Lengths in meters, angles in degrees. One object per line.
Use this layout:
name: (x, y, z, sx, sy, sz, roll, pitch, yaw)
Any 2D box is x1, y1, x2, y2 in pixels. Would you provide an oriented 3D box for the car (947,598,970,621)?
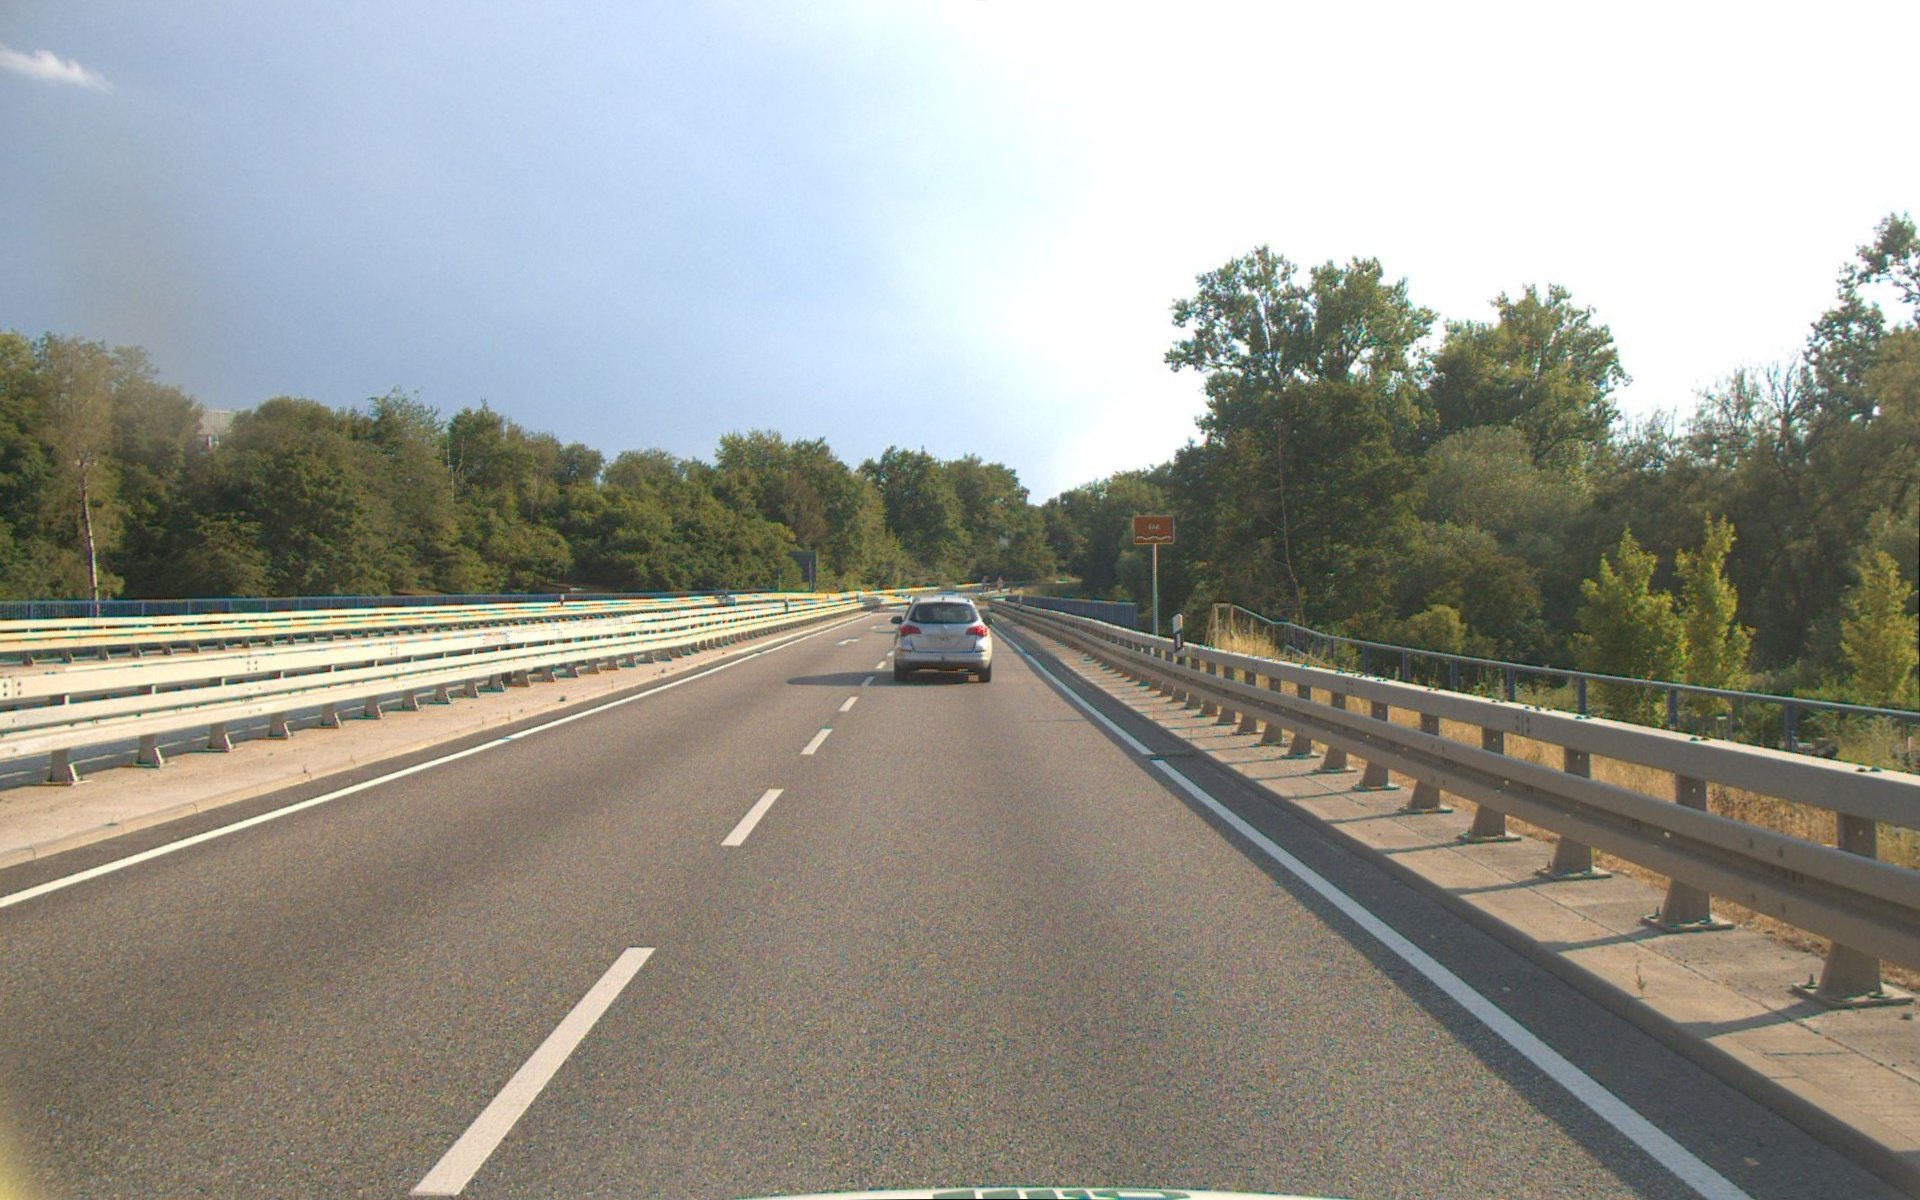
car: (-0.158, 0.929, 157.812, 1.954, 2.049, 3.996, 1, -1, -5)

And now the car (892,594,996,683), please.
car: (-0.312, 0.714, 30.658, 1.772, 1.512, 3.999, 1, -1, -1)

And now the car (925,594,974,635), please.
car: (-0.422, 0.572, 62.994, 1.772, 1.512, 3.999, 1, -1, -1)
